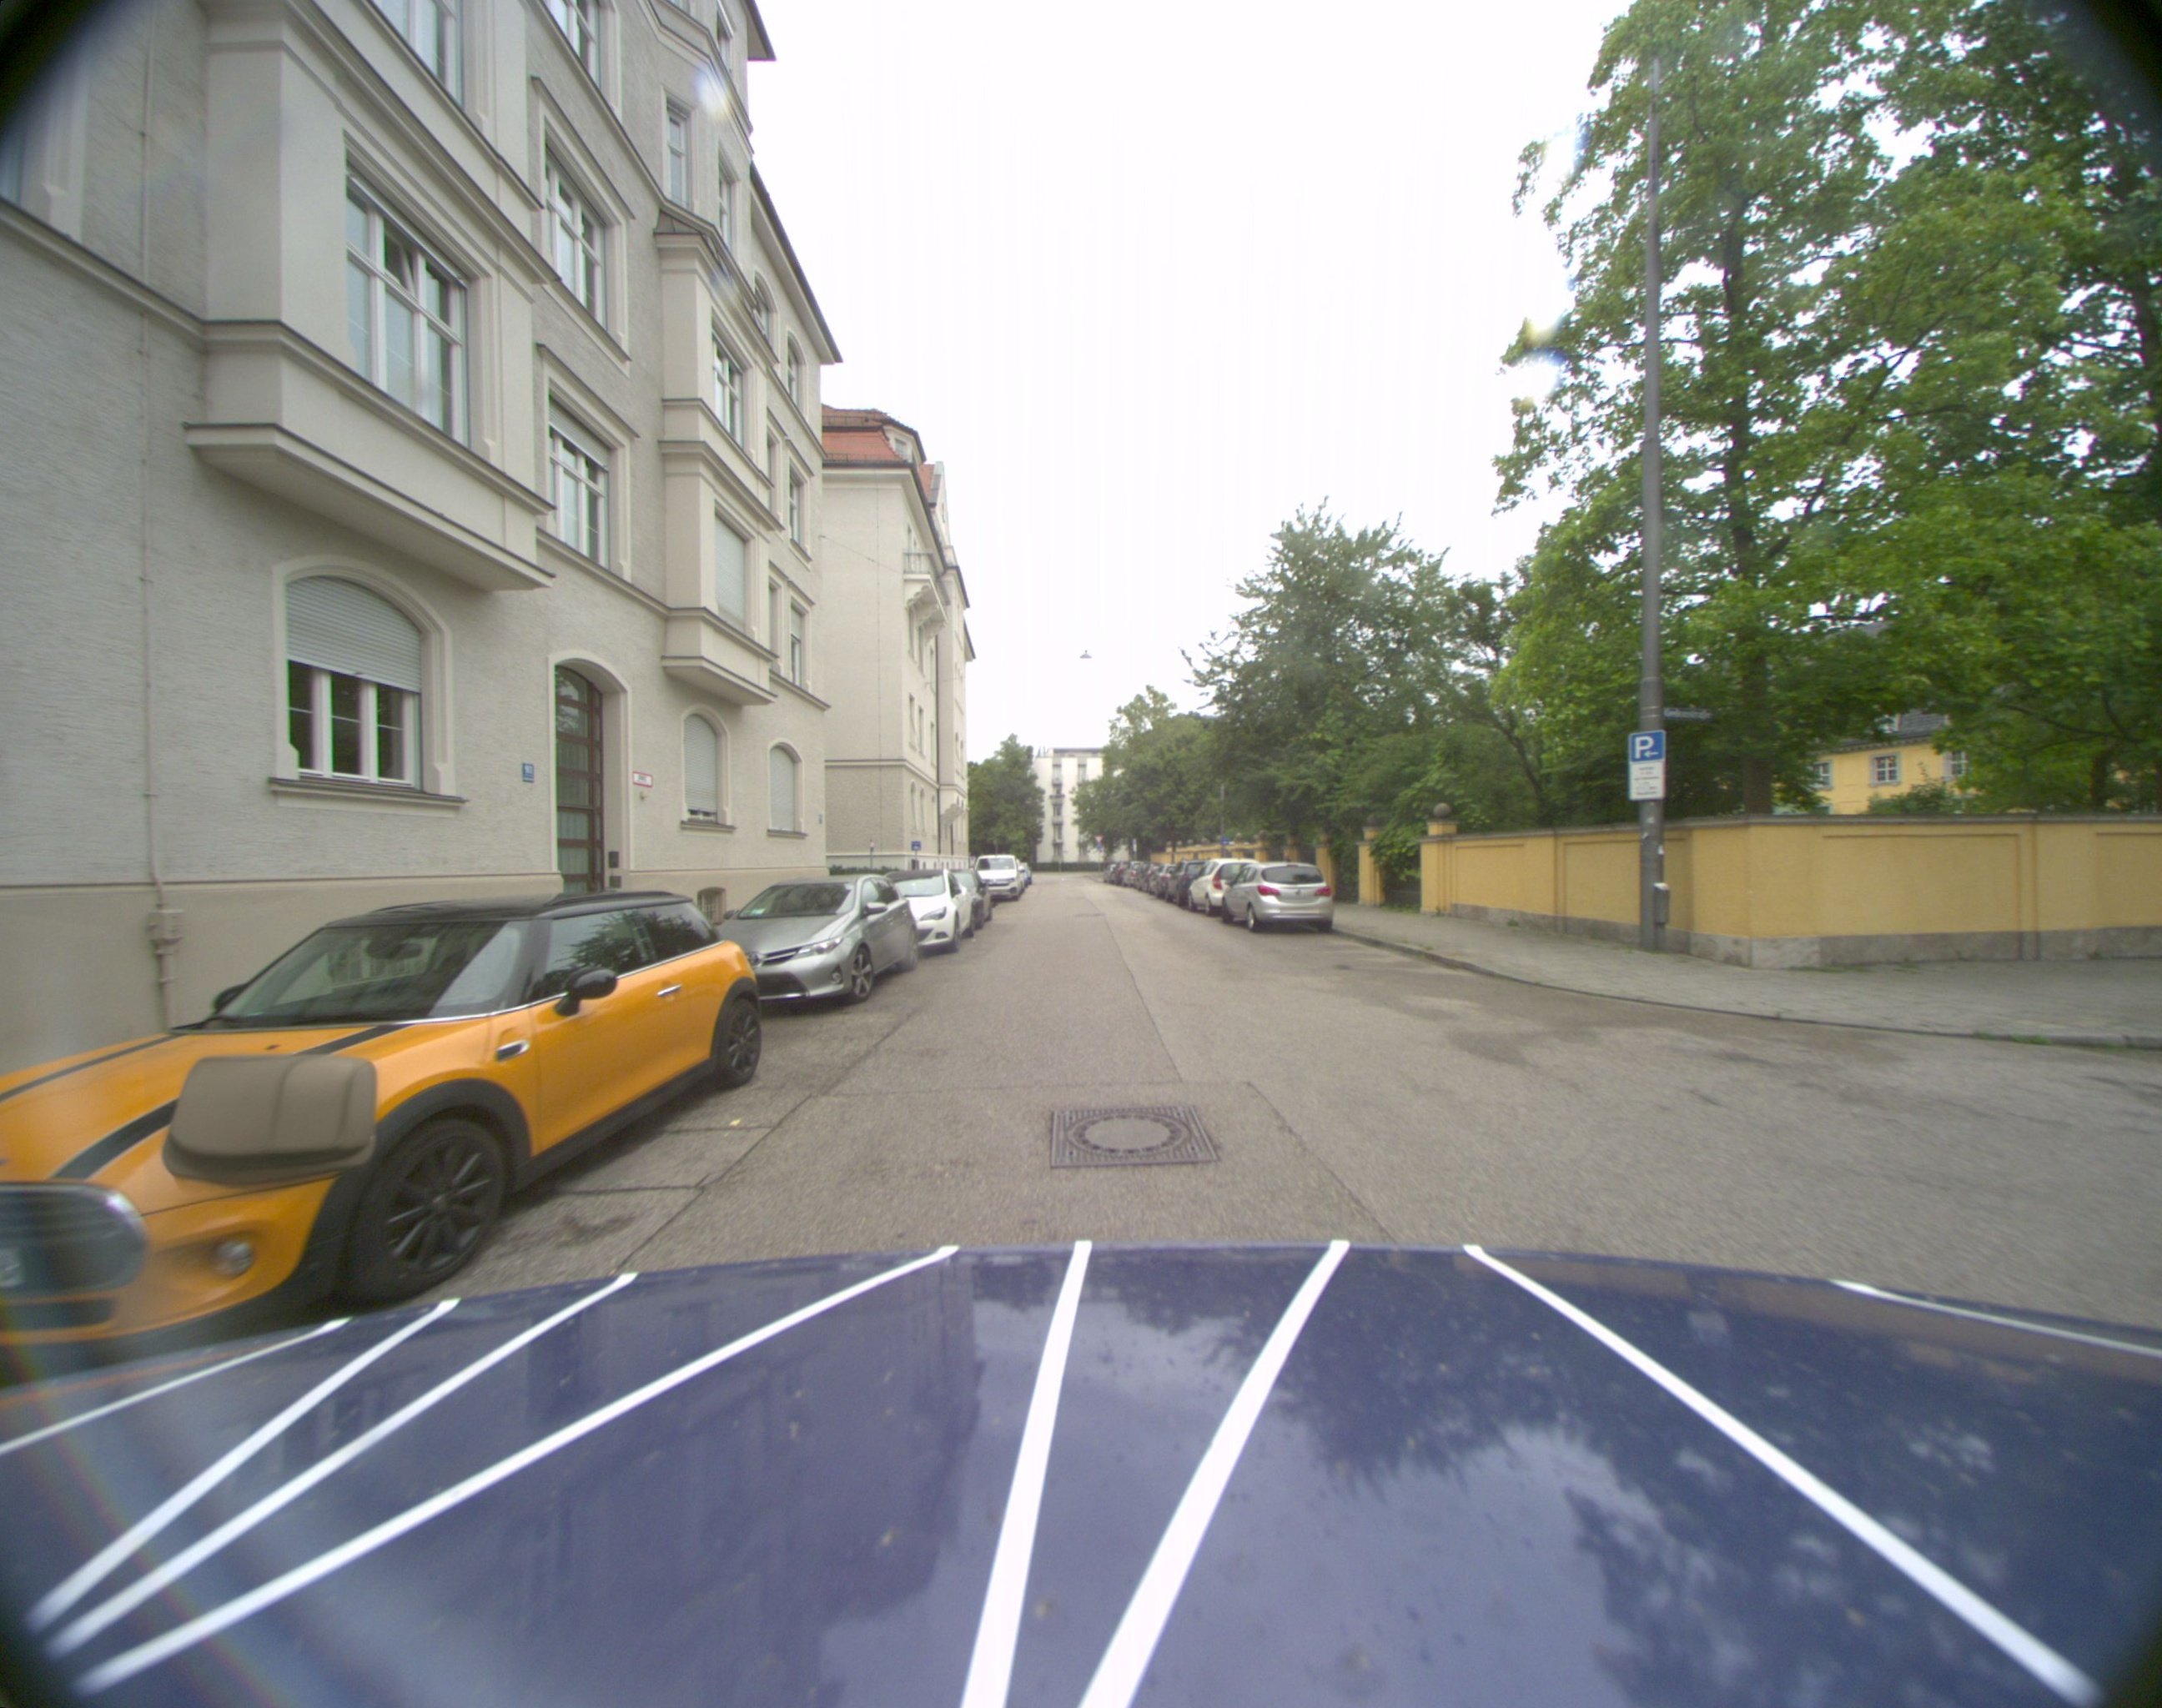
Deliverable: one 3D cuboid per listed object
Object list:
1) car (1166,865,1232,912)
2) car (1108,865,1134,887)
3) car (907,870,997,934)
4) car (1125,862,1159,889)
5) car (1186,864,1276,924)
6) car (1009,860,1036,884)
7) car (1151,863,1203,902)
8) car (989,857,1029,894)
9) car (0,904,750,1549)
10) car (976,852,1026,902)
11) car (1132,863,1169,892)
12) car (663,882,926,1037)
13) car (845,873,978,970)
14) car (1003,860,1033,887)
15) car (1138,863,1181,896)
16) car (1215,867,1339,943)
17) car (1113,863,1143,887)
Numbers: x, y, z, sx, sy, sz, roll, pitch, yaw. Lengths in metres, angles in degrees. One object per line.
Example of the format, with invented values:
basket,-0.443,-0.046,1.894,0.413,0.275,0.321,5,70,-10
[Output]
car,4.106,1.169,27.043,1.653,1.551,3.930,0,-1,-1
car,2.936,1.588,56.620,1.653,1.551,3.930,0,-1,-1
car,-3.187,1.144,19.459,1.715,1.382,4.085,-2,-1,-2
car,3.695,1.291,46.468,1.653,1.551,3.930,0,-1,-1
car,4.247,1.090,22.089,1.705,1.551,3.930,-1,-1,-1
car,-4.338,1.317,56.691,1.794,1.638,4.085,-2,-1,-2
car,4.030,1.174,32.441,1.653,1.551,3.930,0,-1,-1
car,-3.700,1.081,39.606,1.794,1.776,4.084,-2,0,-3
car,-3.278,1.070,3.736,1.660,1.431,3.598,-1,-1,1
car,-3.374,0.938,32.543,1.794,1.926,4.085,-2,-1,-2
car,3.827,1.284,42.409,1.653,1.551,3.930,0,-1,-1
car,-3.266,1.120,9.569,1.715,1.382,4.000,-2,-1,0
car,-3.030,1.149,14.396,1.715,1.462,4.085,-2,-1,-2
car,-4.111,1.249,50.081,1.794,1.638,4.085,-2,-1,-2
car,3.905,1.258,38.142,1.653,1.551,3.930,0,-1,-1
car,4.287,1.059,17.209,1.705,1.483,3.956,0,-1,-1
car,3.120,1.358,51.011,1.653,1.551,3.930,0,-1,-1
